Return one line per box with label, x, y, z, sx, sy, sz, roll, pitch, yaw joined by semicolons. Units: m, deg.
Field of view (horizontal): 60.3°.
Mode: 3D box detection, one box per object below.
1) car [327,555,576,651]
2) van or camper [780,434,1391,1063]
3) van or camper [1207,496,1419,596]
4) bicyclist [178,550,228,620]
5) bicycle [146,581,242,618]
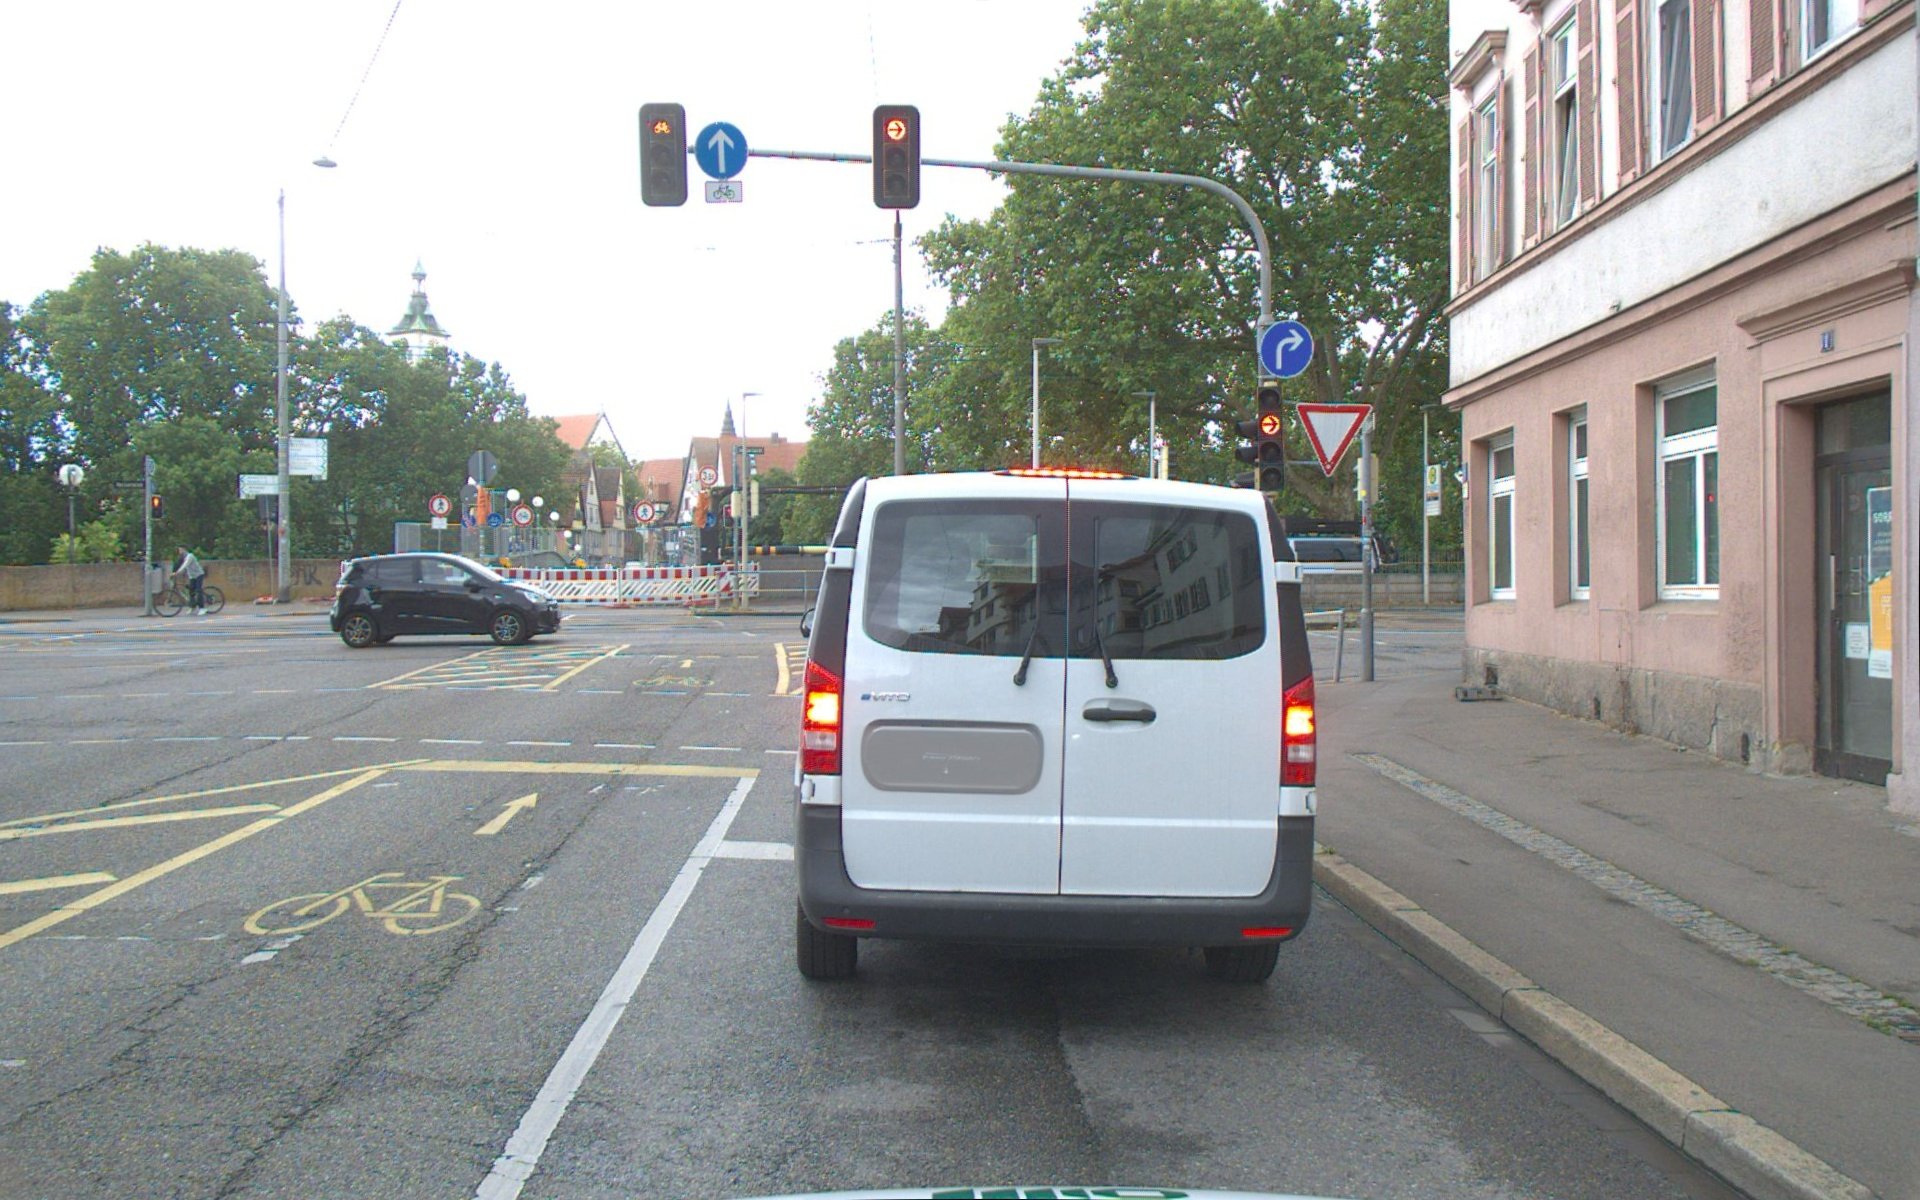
car;-8.391;0.021;27.567;3.674;1.453;1.825;-1;2;-8
van or camper;0.260;0.401;7.419;1.899;1.958;4.438;1;2;-4
van or camper;9.664;-1.469;45.506;5.291;2.558;2.033;-1;-1;-8
bicyclist;-19.553;-0.404;42.725;0.996;1.774;0.743;-1;1;-42
bicycle;-19.707;-0.027;42.589;2.120;0.907;0.749;-1;2;-42
